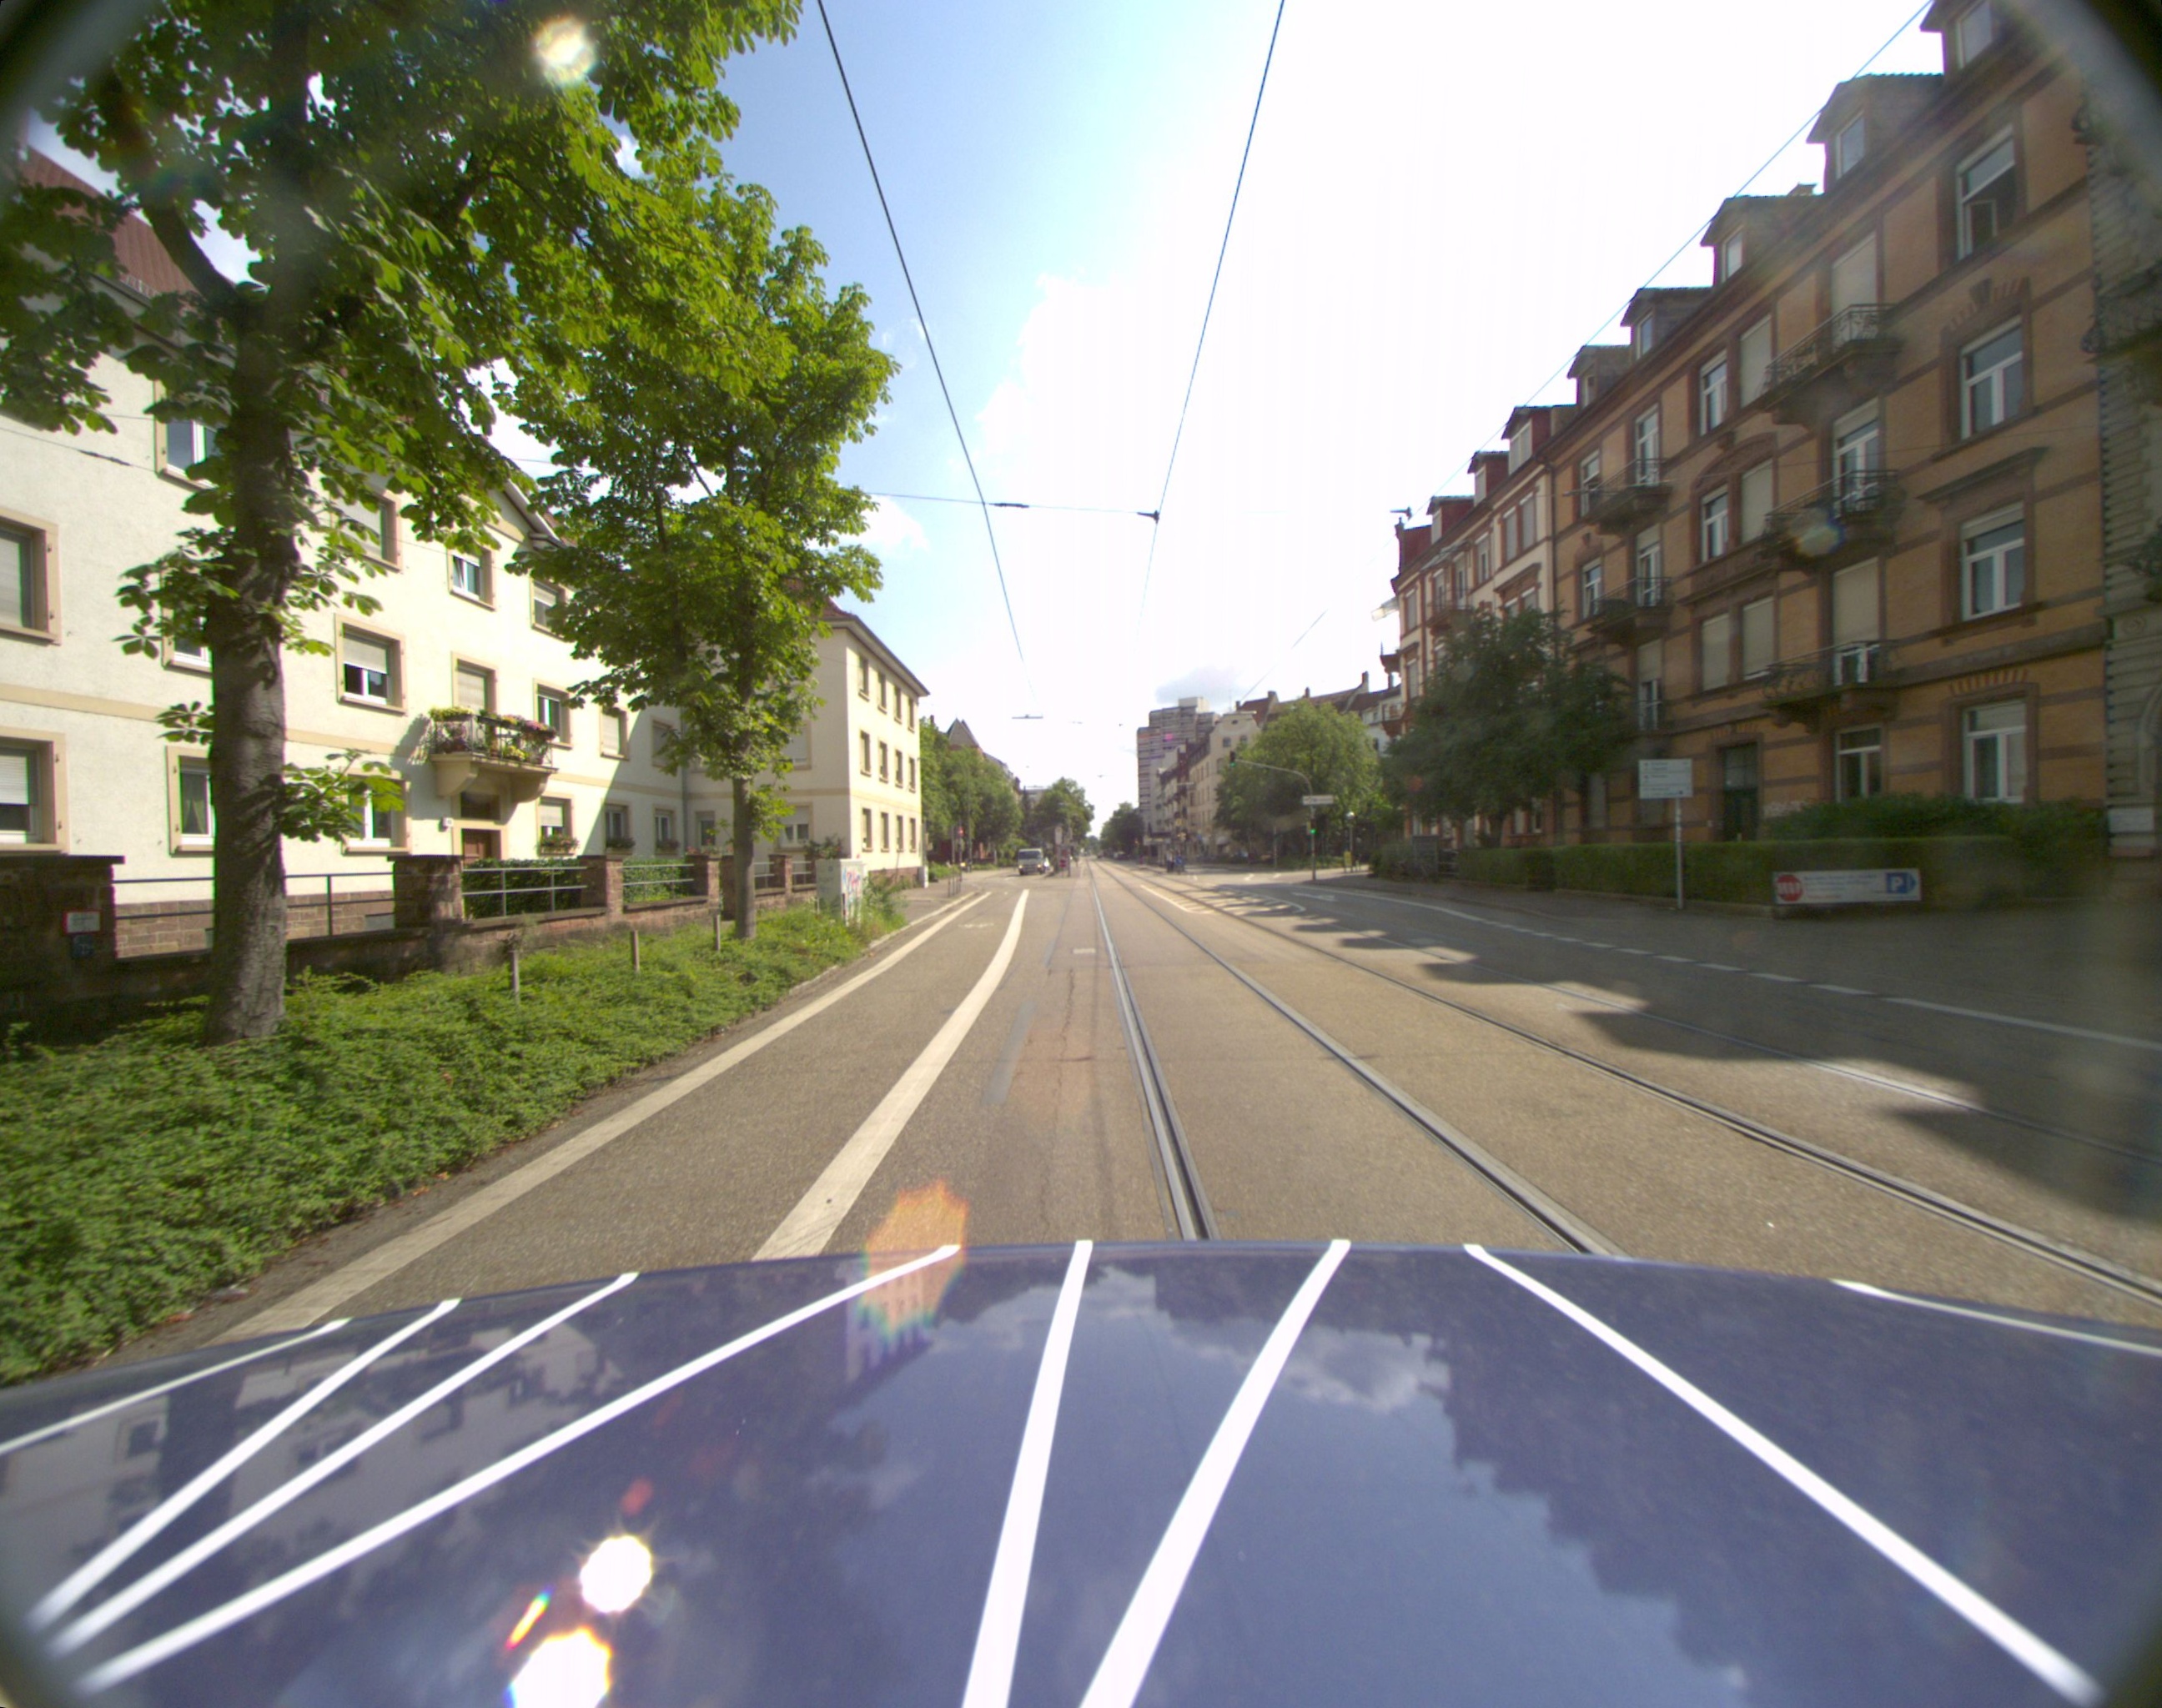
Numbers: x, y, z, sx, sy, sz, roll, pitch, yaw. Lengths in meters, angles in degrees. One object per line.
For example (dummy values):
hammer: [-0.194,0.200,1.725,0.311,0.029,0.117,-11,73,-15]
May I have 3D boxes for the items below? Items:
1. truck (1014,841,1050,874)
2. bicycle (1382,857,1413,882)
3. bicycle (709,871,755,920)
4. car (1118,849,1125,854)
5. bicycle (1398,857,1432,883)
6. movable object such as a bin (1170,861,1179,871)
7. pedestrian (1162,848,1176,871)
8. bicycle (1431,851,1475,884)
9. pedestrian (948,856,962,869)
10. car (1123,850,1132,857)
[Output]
truck: [-4.150,0.293,66.140,2.531,2.722,6.515,-1,0,1]
bicycle: [12.814,0.606,30.783,0.560,0.927,1.826,-1,0,3]
bicycle: [-9.144,1.072,19.968,0.506,1.194,1.491,-2,0,-1]
car: [12.111,-0.749,227.743,1.841,1.482,3.891,-2,0,0]
bicycle: [12.702,0.604,28.955,0.560,0.927,1.826,-1,0,3]
movable object such as a bin: [6.663,0.873,54.313,0.513,0.713,0.457,-2,0,-13]
pedestrian: [6.216,0.374,53.575,0.783,1.565,0.692,-2,1,-13]
bicycle: [13.303,0.467,27.198,1.308,1.124,0.497,-2,1,-1]
pedestrian: [-11.470,0.773,69.024,1.160,1.195,0.906,2,0,-7]
car: [10.521,-0.215,171.485,1.841,1.482,3.891,-2,0,0]
